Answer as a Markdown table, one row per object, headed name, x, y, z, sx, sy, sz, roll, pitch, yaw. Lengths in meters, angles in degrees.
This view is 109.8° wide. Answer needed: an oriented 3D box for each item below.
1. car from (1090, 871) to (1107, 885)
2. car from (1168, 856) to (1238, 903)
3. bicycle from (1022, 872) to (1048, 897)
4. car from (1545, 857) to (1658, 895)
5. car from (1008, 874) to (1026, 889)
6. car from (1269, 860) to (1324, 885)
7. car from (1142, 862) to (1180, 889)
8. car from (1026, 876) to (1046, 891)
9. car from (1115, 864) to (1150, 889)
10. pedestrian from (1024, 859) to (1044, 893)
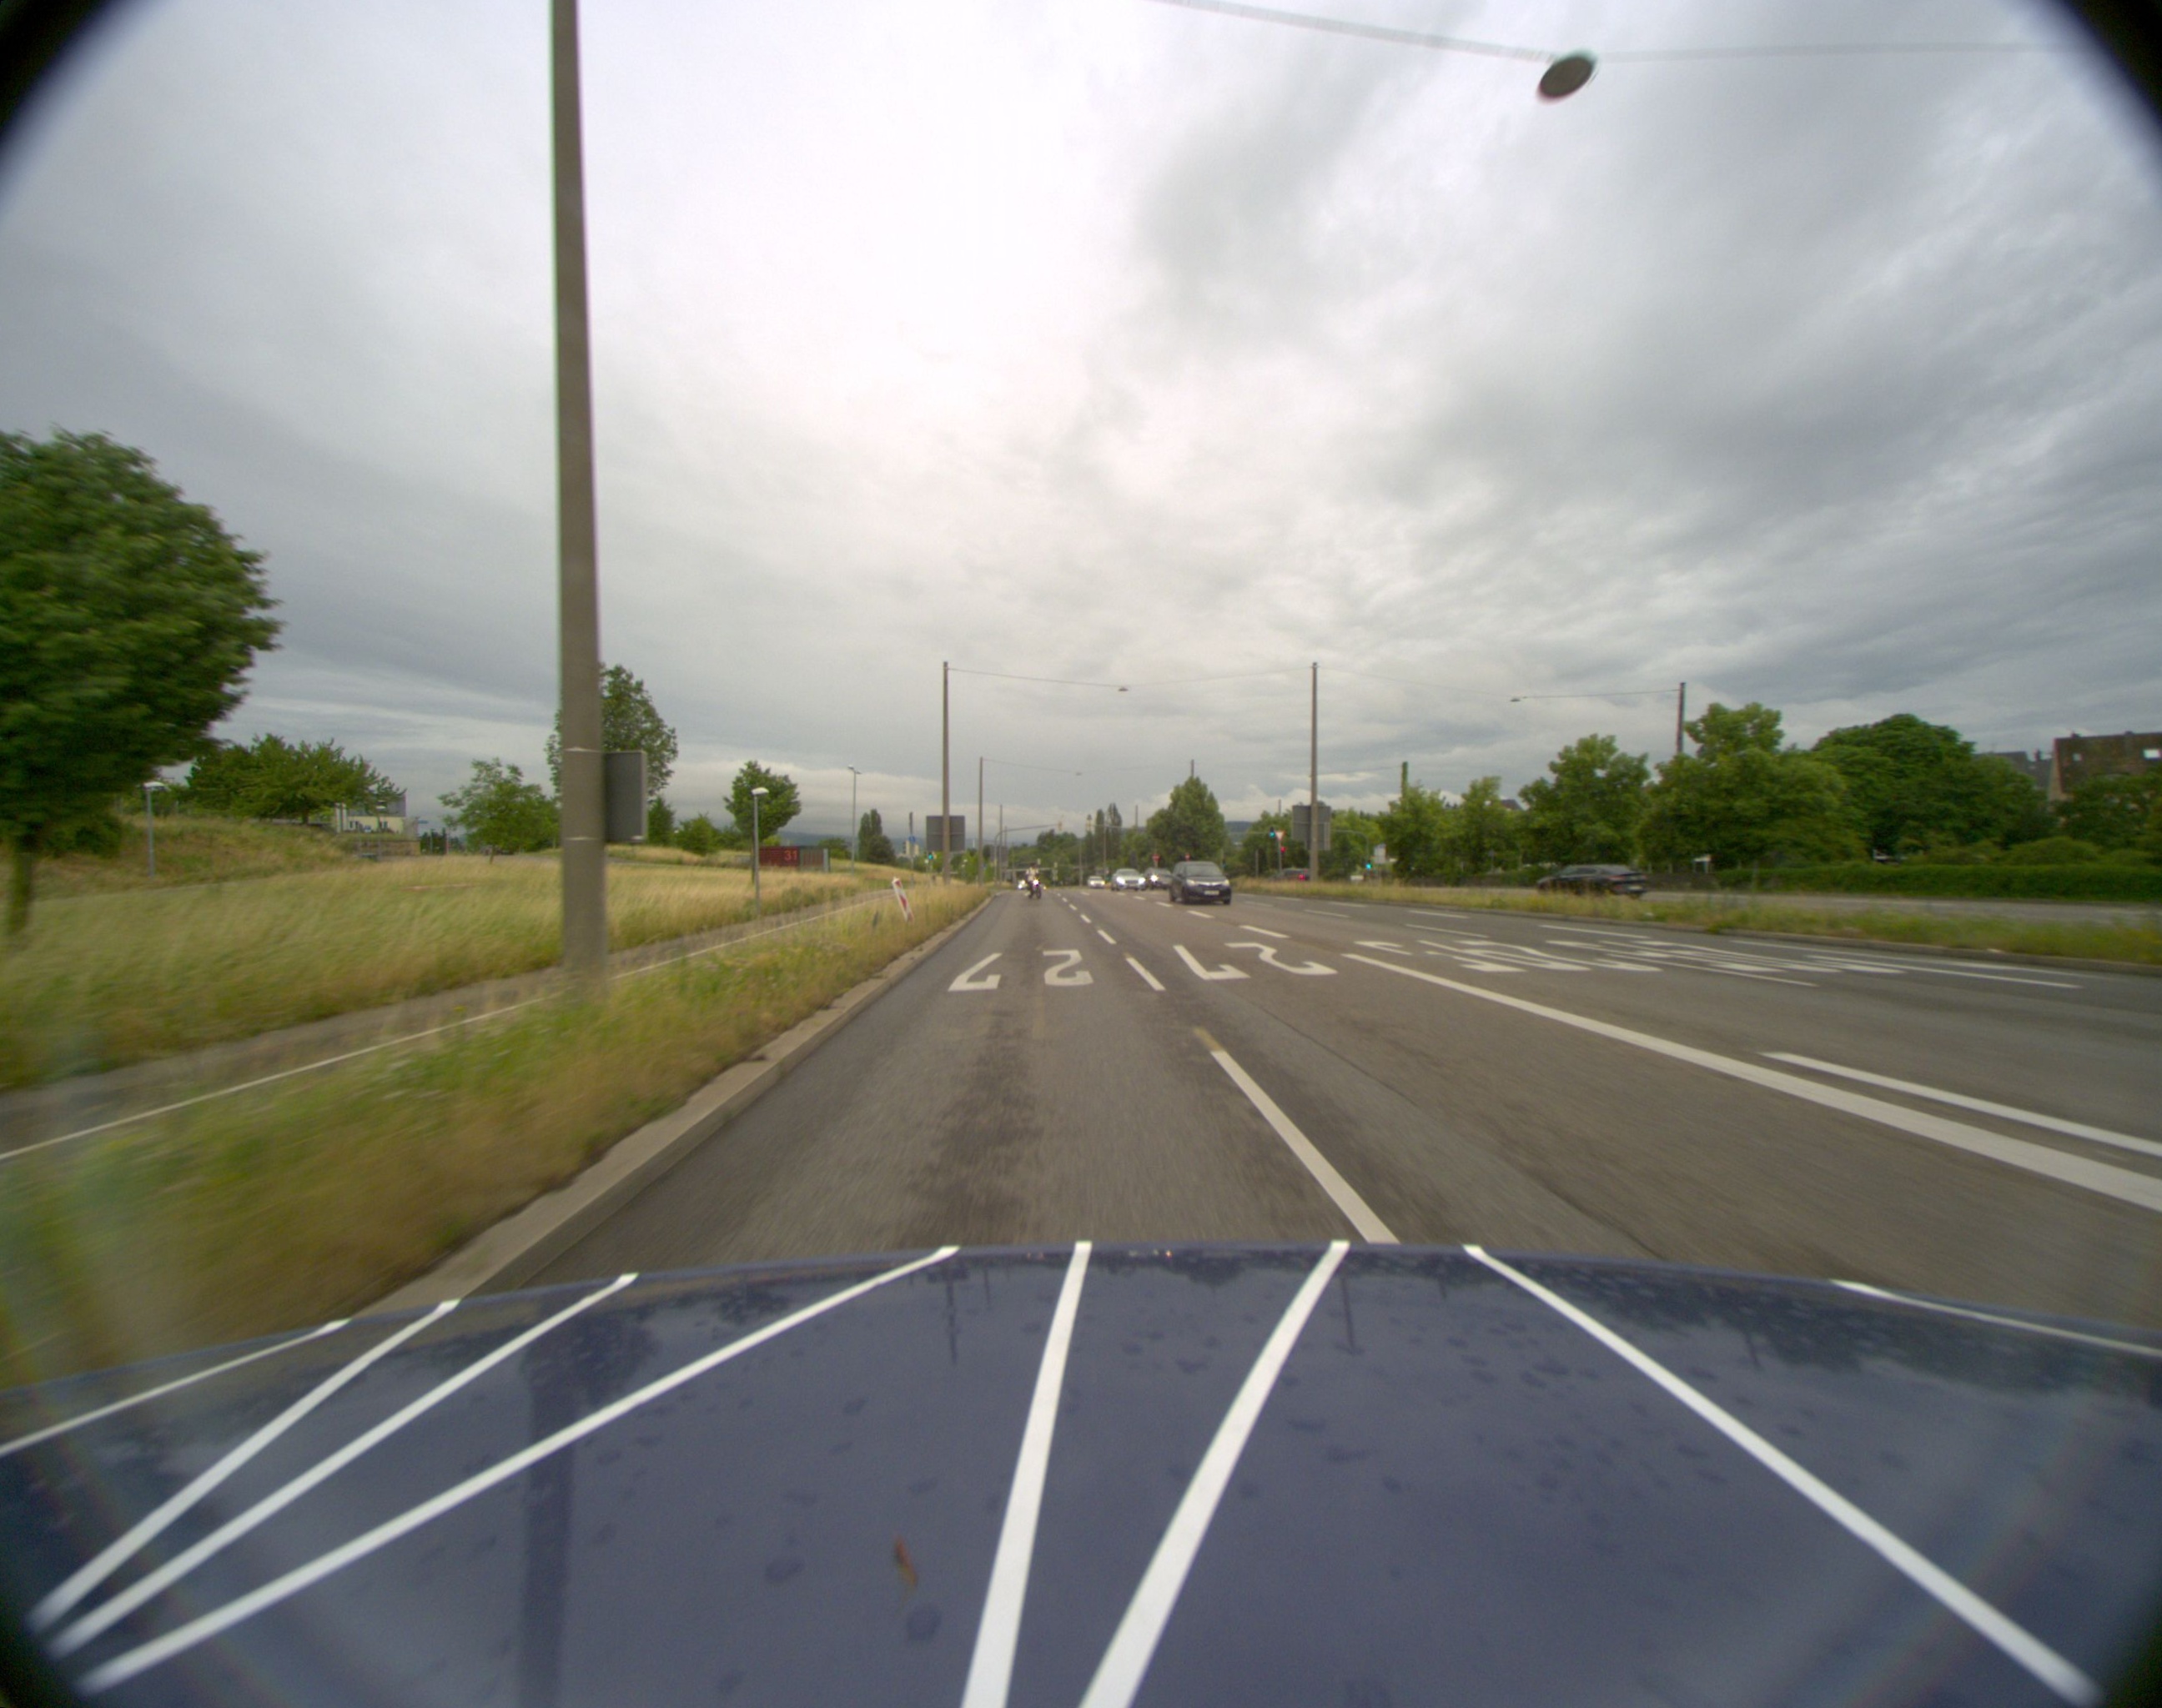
| name | x | y | z | sx | sy | sz | roll | pitch | yaw |
| --- | --- | --- | --- | --- | --- | --- | --- | --- | --- |
| car | 2.286 | 3.188 | 100.752 | 1.999 | 1.632 | 4.629 | -3 | -2 | -1 |
| car | 4.484 | 0.908 | 28.556 | 1.801 | 1.556 | 4.043 | -3 | 0 | -2 |
| bicycle | -2.138 | 1.415 | 35.370 | 0.635 | 1.098 | 1.750 | 0 | 0 | -24 |
| car | 20.583 | 0.892 | 30.227 | 1.599 | 1.352 | 3.675 | -3 | -2 | -8 |
| car | -7.866 | 3.367 | 93.655 | 1.999 | 1.632 | 4.628 | -3 | -2 | -3 |
| car | 13.991 | 1.213 | 49.551 | 1.896 | 1.498 | 3.997 | 1 | -2 | -11 |
| car | 5.869 | 1.593 | 56.199 | 1.999 | 1.849 | 4.000 | -1 | -2 | -5 |
| car | -4.671 | 3.064 | 79.706 | 1.725 | 1.512 | 4.229 | 0 | -2 | 2 |
| car | 3.271 | 1.483 | 49.265 | 1.998 | 1.399 | 4.526 | -3 | -2 | 1 |
| pedestrian | -2.191 | 1.008 | 35.395 | 0.635 | 1.561 | 0.894 | 0 | 0 | -24 |
